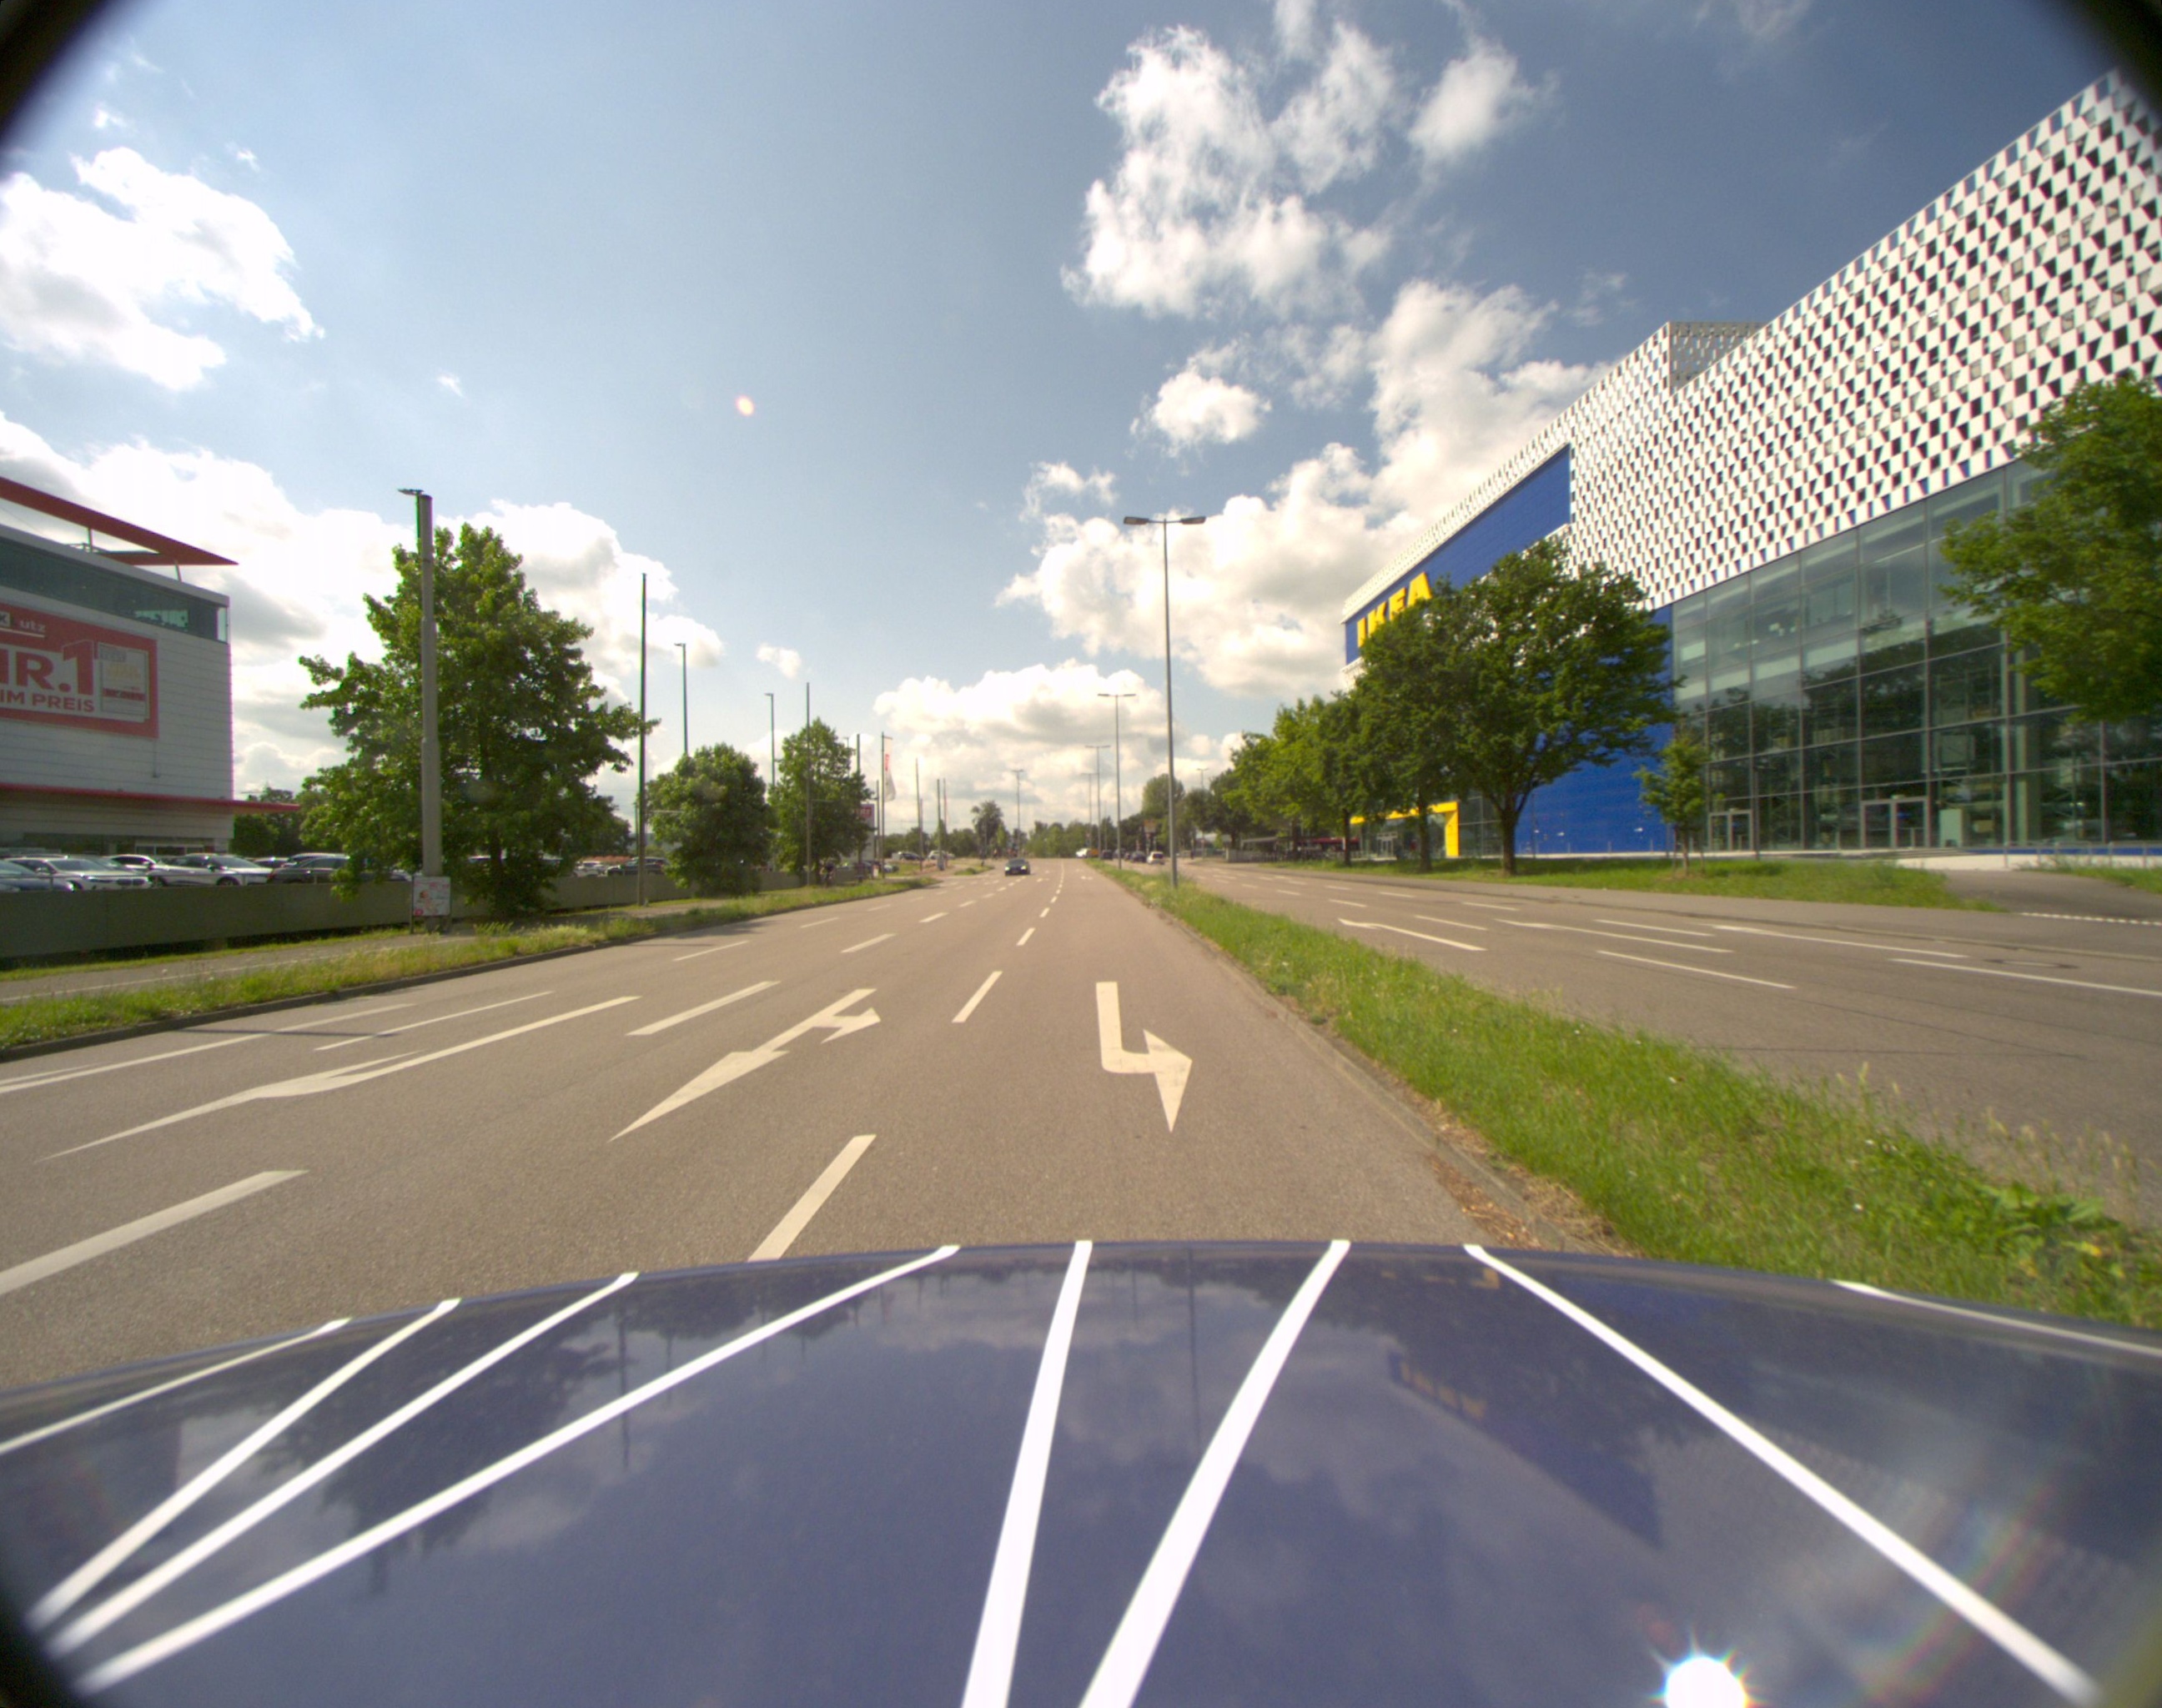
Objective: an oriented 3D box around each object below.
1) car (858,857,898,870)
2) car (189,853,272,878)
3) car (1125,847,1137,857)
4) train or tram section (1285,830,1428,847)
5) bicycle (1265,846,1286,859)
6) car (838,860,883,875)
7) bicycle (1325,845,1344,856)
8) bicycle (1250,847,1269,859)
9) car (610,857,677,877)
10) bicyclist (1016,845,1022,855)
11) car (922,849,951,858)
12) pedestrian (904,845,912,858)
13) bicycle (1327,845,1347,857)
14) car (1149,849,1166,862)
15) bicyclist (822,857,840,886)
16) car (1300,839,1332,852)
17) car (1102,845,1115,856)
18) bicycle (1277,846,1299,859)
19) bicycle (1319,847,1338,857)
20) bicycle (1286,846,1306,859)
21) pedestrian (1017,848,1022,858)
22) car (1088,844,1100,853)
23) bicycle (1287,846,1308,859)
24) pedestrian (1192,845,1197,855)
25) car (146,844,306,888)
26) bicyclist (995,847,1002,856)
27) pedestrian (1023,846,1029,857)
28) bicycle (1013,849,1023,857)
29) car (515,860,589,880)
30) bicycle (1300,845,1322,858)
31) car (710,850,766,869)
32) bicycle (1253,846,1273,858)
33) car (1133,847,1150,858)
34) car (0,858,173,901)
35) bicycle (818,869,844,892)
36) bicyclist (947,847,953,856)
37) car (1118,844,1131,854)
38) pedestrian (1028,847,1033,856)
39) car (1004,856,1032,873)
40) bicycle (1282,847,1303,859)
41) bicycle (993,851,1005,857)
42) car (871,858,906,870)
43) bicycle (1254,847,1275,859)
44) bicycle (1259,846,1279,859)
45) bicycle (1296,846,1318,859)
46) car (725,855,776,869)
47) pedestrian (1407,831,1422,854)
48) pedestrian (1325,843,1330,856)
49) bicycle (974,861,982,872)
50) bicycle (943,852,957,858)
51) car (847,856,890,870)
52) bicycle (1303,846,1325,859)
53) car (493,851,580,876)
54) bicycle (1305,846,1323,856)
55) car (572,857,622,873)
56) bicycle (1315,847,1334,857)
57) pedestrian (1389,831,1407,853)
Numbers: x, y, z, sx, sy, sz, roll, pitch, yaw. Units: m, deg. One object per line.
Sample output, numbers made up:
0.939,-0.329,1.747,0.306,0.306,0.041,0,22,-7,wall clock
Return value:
-24.810,1.183,93.153,4.370,1.431,1.796,-1,1,0,car
-65.176,0.855,58.265,3.998,1.713,2.000,-2,0,-2,car
7.213,-0.370,110.113,1.415,1.384,4.095,1,1,-1,car
51.018,-2.800,140.947,25.116,3.014,4.529,0,0,-2,train or tram section
20.139,-0.128,78.672,1.930,1.265,0.629,-2,0,-1,bicycle
-24.059,1.459,83.052,4.369,1.468,1.857,-2,1,1,car
28.187,-0.406,84.393,1.940,1.203,0.528,-2,1,-5,bicycle
19.880,-0.143,84.684,1.930,1.265,0.629,-2,0,-1,bicycle
-33.500,0.984,58.310,4.067,1.522,1.740,0,1,-9,car
-9.951,-0.625,121.490,0.698,1.526,0.619,-2,0,-44,bicyclist
-23.490,-0.022,123.700,4.495,1.405,2.013,-1,1,-4,car
-24.995,-0.337,109.845,0.865,1.754,0.863,2,-3,-4,pedestrian
28.161,-0.344,83.596,1.950,1.236,0.597,-2,1,-5,bicycle
8.753,0.163,86.945,1.647,1.420,3.670,0,1,0,car
-12.484,0.851,37.906,0.617,1.404,0.715,-1,0,0,bicyclist
40.475,-1.415,131.049,4.821,2.002,1.999,-2,0,-4,car
4.083,-0.519,112.072,1.608,1.485,4.130,1,1,-2,car
20.127,-0.111,73.790,1.930,1.176,0.629,-2,0,-1,bicycle
27.978,-0.270,85.917,1.940,1.064,0.528,-2,1,-5,bicycle
22.292,-0.188,78.815,1.930,1.265,0.629,-2,0,-1,bicycle
-9.517,-0.157,117.893,0.585,1.515,0.469,-2,1,8,pedestrian
2.227,-0.950,129.768,1.712,1.610,4.376,0,1,-2,car
22.173,-0.150,77.721,1.930,1.265,0.629,-2,0,-1,bicycle
17.715,-0.662,118.556,0.439,1.482,0.619,-2,1,-18,pedestrian
-34.551,0.459,30.807,3.998,1.562,1.999,-2,1,-3,car
-12.843,-0.400,118.655,0.649,1.466,0.744,-2,0,43,bicyclist
-8.491,-0.436,116.895,0.688,1.718,0.701,0,2,10,pedestrian
-10.023,-0.169,121.400,1.508,1.158,0.619,-2,0,-44,bicycle
-39.916,1.216,57.382,4.300,1.419,1.759,-1,-1,-1,car
22.311,-0.235,73.845,1.930,1.265,0.629,-2,0,-1,bicycle
-29.979,0.461,66.485,4.026,1.578,1.695,-1,-1,-2,car
19.943,-0.179,83.338,1.930,1.265,0.629,-2,0,-1,bicycle
7.899,-0.197,99.393,1.668,1.413,4.517,1,1,-1,car
-34.106,0.830,25.747,4.195,1.381,1.892,0,0,-4,car
-12.479,1.301,37.943,0.625,1.061,1.967,-1,0,0,bicycle
-19.598,-0.373,113.921,0.688,1.318,0.591,-2,0,-33,bicyclist
7.301,-0.802,127.025,1.775,1.606,3.998,1,2,-2,car
-7.932,-0.401,118.999,0.556,1.515,0.470,-2,0,8,pedestrian
-5.223,0.849,63.099,1.797,1.311,4.163,-2,0,2,car
22.192,-0.116,79.733,1.930,1.176,0.629,-2,0,-1,bicycle
-12.804,0.016,118.665,0.664,0.955,1.699,-2,0,43,bicycle
-24.746,1.237,97.721,3.998,1.410,1.715,-1,1,-3,car
19.900,-0.081,82.282,2.094,1.265,0.629,-2,0,-1,bicycle
20.035,-0.145,81.043,1.930,1.265,0.629,-2,0,-1,bicycle
22.261,-0.135,74.941,1.930,1.172,0.629,-2,0,-1,bicycle
-33.736,0.822,77.596,4.369,1.354,1.847,0,-1,1,car
26.621,-0.887,60.650,0.755,1.812,0.887,-2,1,-1,pedestrian
34.009,-0.623,104.958,0.410,1.693,0.516,-2,0,-7,pedestrian
-9.965,1.180,73.405,0.518,0.947,1.543,-2,1,-1,bicycle
-19.604,0.137,113.914,1.991,0.955,0.595,-2,0,-33,bicycle
-24.512,1.077,87.852,4.370,1.408,1.856,-2,1,-1,car
22.349,-0.133,72.846,1.930,1.177,0.629,-2,0,-1,bicycle
-34.426,0.613,48.086,4.193,1.543,1.764,0,0,-2,car
27.536,-0.377,89.824,1.940,1.064,0.528,-2,1,-5,bicycle
-49.543,1.116,77.872,3.997,1.443,1.668,-2,0,0,car
27.928,-0.255,87.094,1.935,1.083,0.520,-2,0,-5,bicycle
25.146,-0.912,60.266,0.952,1.693,0.887,-2,1,-1,pedestrian
